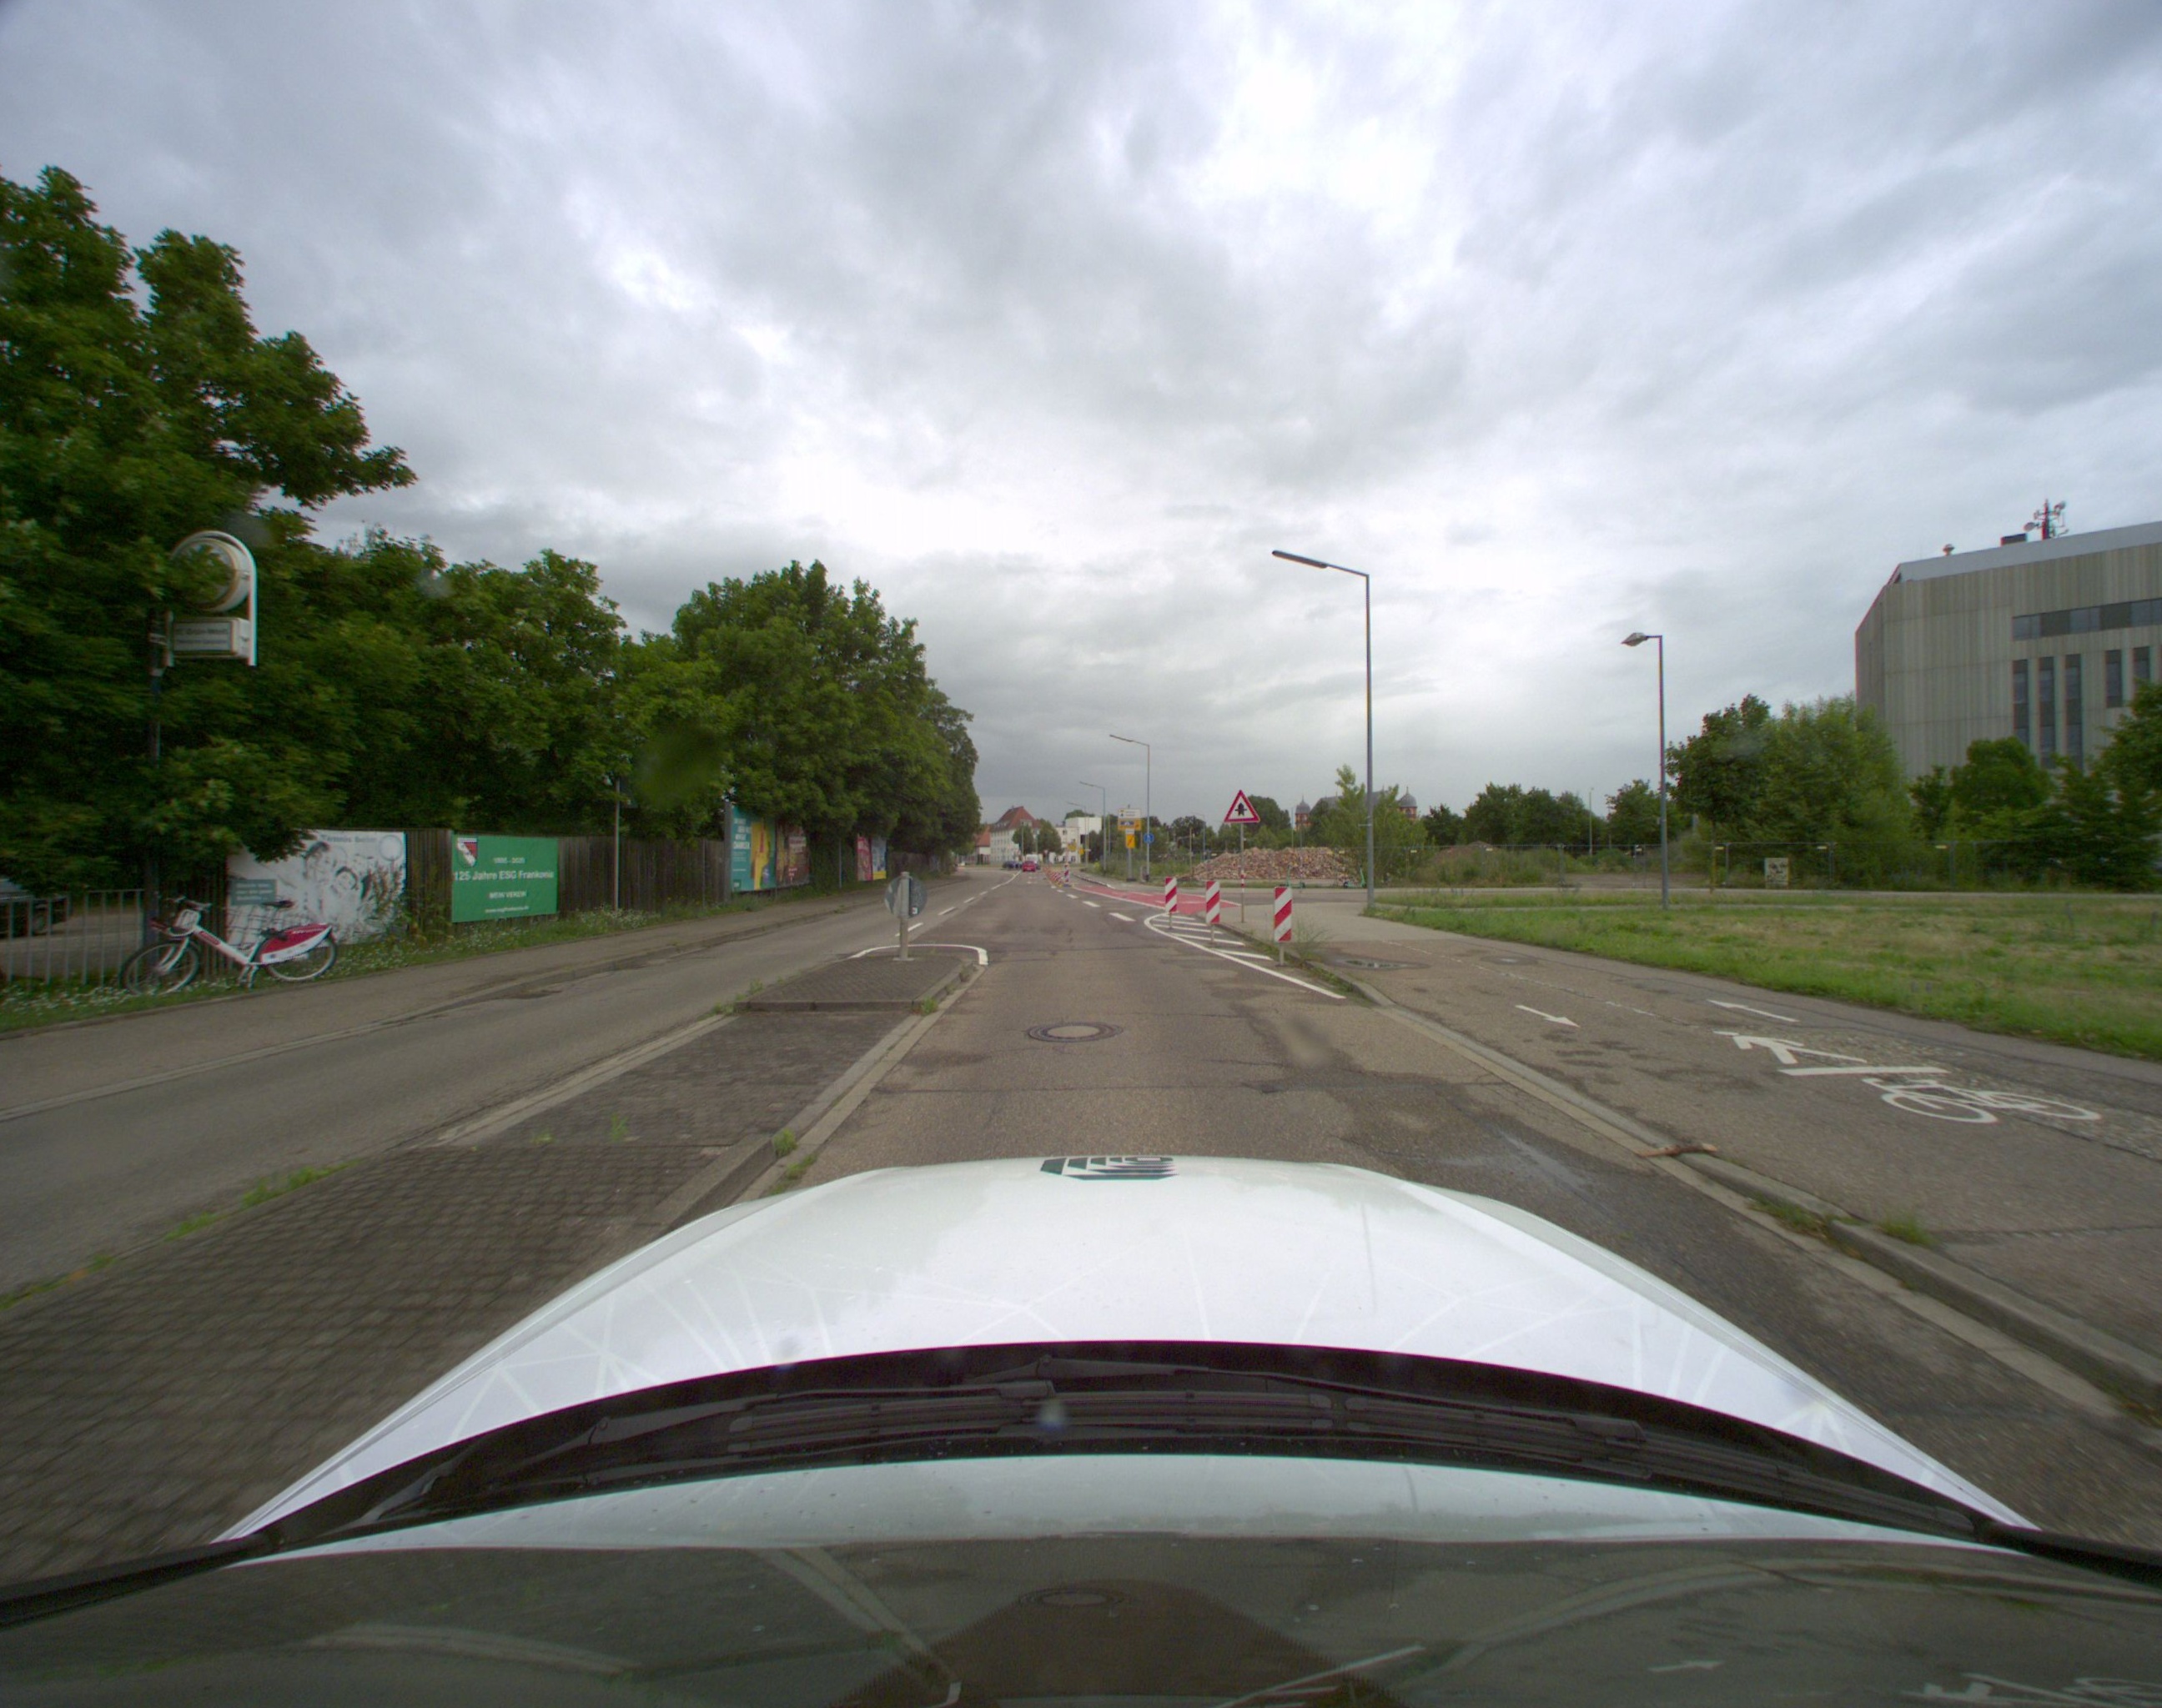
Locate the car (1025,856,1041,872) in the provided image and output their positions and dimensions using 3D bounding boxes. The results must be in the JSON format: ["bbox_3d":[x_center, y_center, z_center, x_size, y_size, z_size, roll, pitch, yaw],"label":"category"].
[{"bbox_3d":[-7.859,1.588,134.186,2.186,2.540,4.965,1,-1,3],"label":"car"}]

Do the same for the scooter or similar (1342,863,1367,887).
[{"bbox_3d":[13.601,1.045,40.477,1.160,1.185,0.448,-1,-1,21],"label":"scooter or similar"}]

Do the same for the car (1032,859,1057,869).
[{"bbox_3d":[-6.997,1.949,157.048,4.549,1.795,2.129,-1,-1,39],"label":"car"}]

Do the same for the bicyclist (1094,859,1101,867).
[{"bbox_3d":[2.638,1.442,130.503,1.058,1.401,0.615,-1,-1,1],"label":"bicyclist"}]

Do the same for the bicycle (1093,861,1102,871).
[{"bbox_3d":[2.667,1.857,130.500,1.471,1.612,0.606,-1,-1,1],"label":"bicycle"}]

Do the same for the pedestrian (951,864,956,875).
[{"bbox_3d":[-16.825,2.039,107.183,0.612,1.529,0.722,0,-1,-8],"label":"pedestrian"}]

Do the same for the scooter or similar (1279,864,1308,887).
[{"bbox_3d":[10.811,1.084,41.416,1.309,1.185,0.449,-1,-1,37],"label":"scooter or similar"}]

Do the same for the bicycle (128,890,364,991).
[{"bbox_3d":[-9.541,0.940,9.406,0.577,0.998,1.779,2,-1,24],"label":"bicycle"}]

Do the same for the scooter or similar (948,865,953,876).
[{"bbox_3d":[-13.961,1.712,87.105,0.422,1.171,1.299,0,-1,-9],"label":"scooter or similar"}]

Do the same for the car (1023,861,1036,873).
[{"bbox_3d":[-6.940,1.795,110.697,1.670,1.640,3.622,1,-1,-3],"label":"car"}]
